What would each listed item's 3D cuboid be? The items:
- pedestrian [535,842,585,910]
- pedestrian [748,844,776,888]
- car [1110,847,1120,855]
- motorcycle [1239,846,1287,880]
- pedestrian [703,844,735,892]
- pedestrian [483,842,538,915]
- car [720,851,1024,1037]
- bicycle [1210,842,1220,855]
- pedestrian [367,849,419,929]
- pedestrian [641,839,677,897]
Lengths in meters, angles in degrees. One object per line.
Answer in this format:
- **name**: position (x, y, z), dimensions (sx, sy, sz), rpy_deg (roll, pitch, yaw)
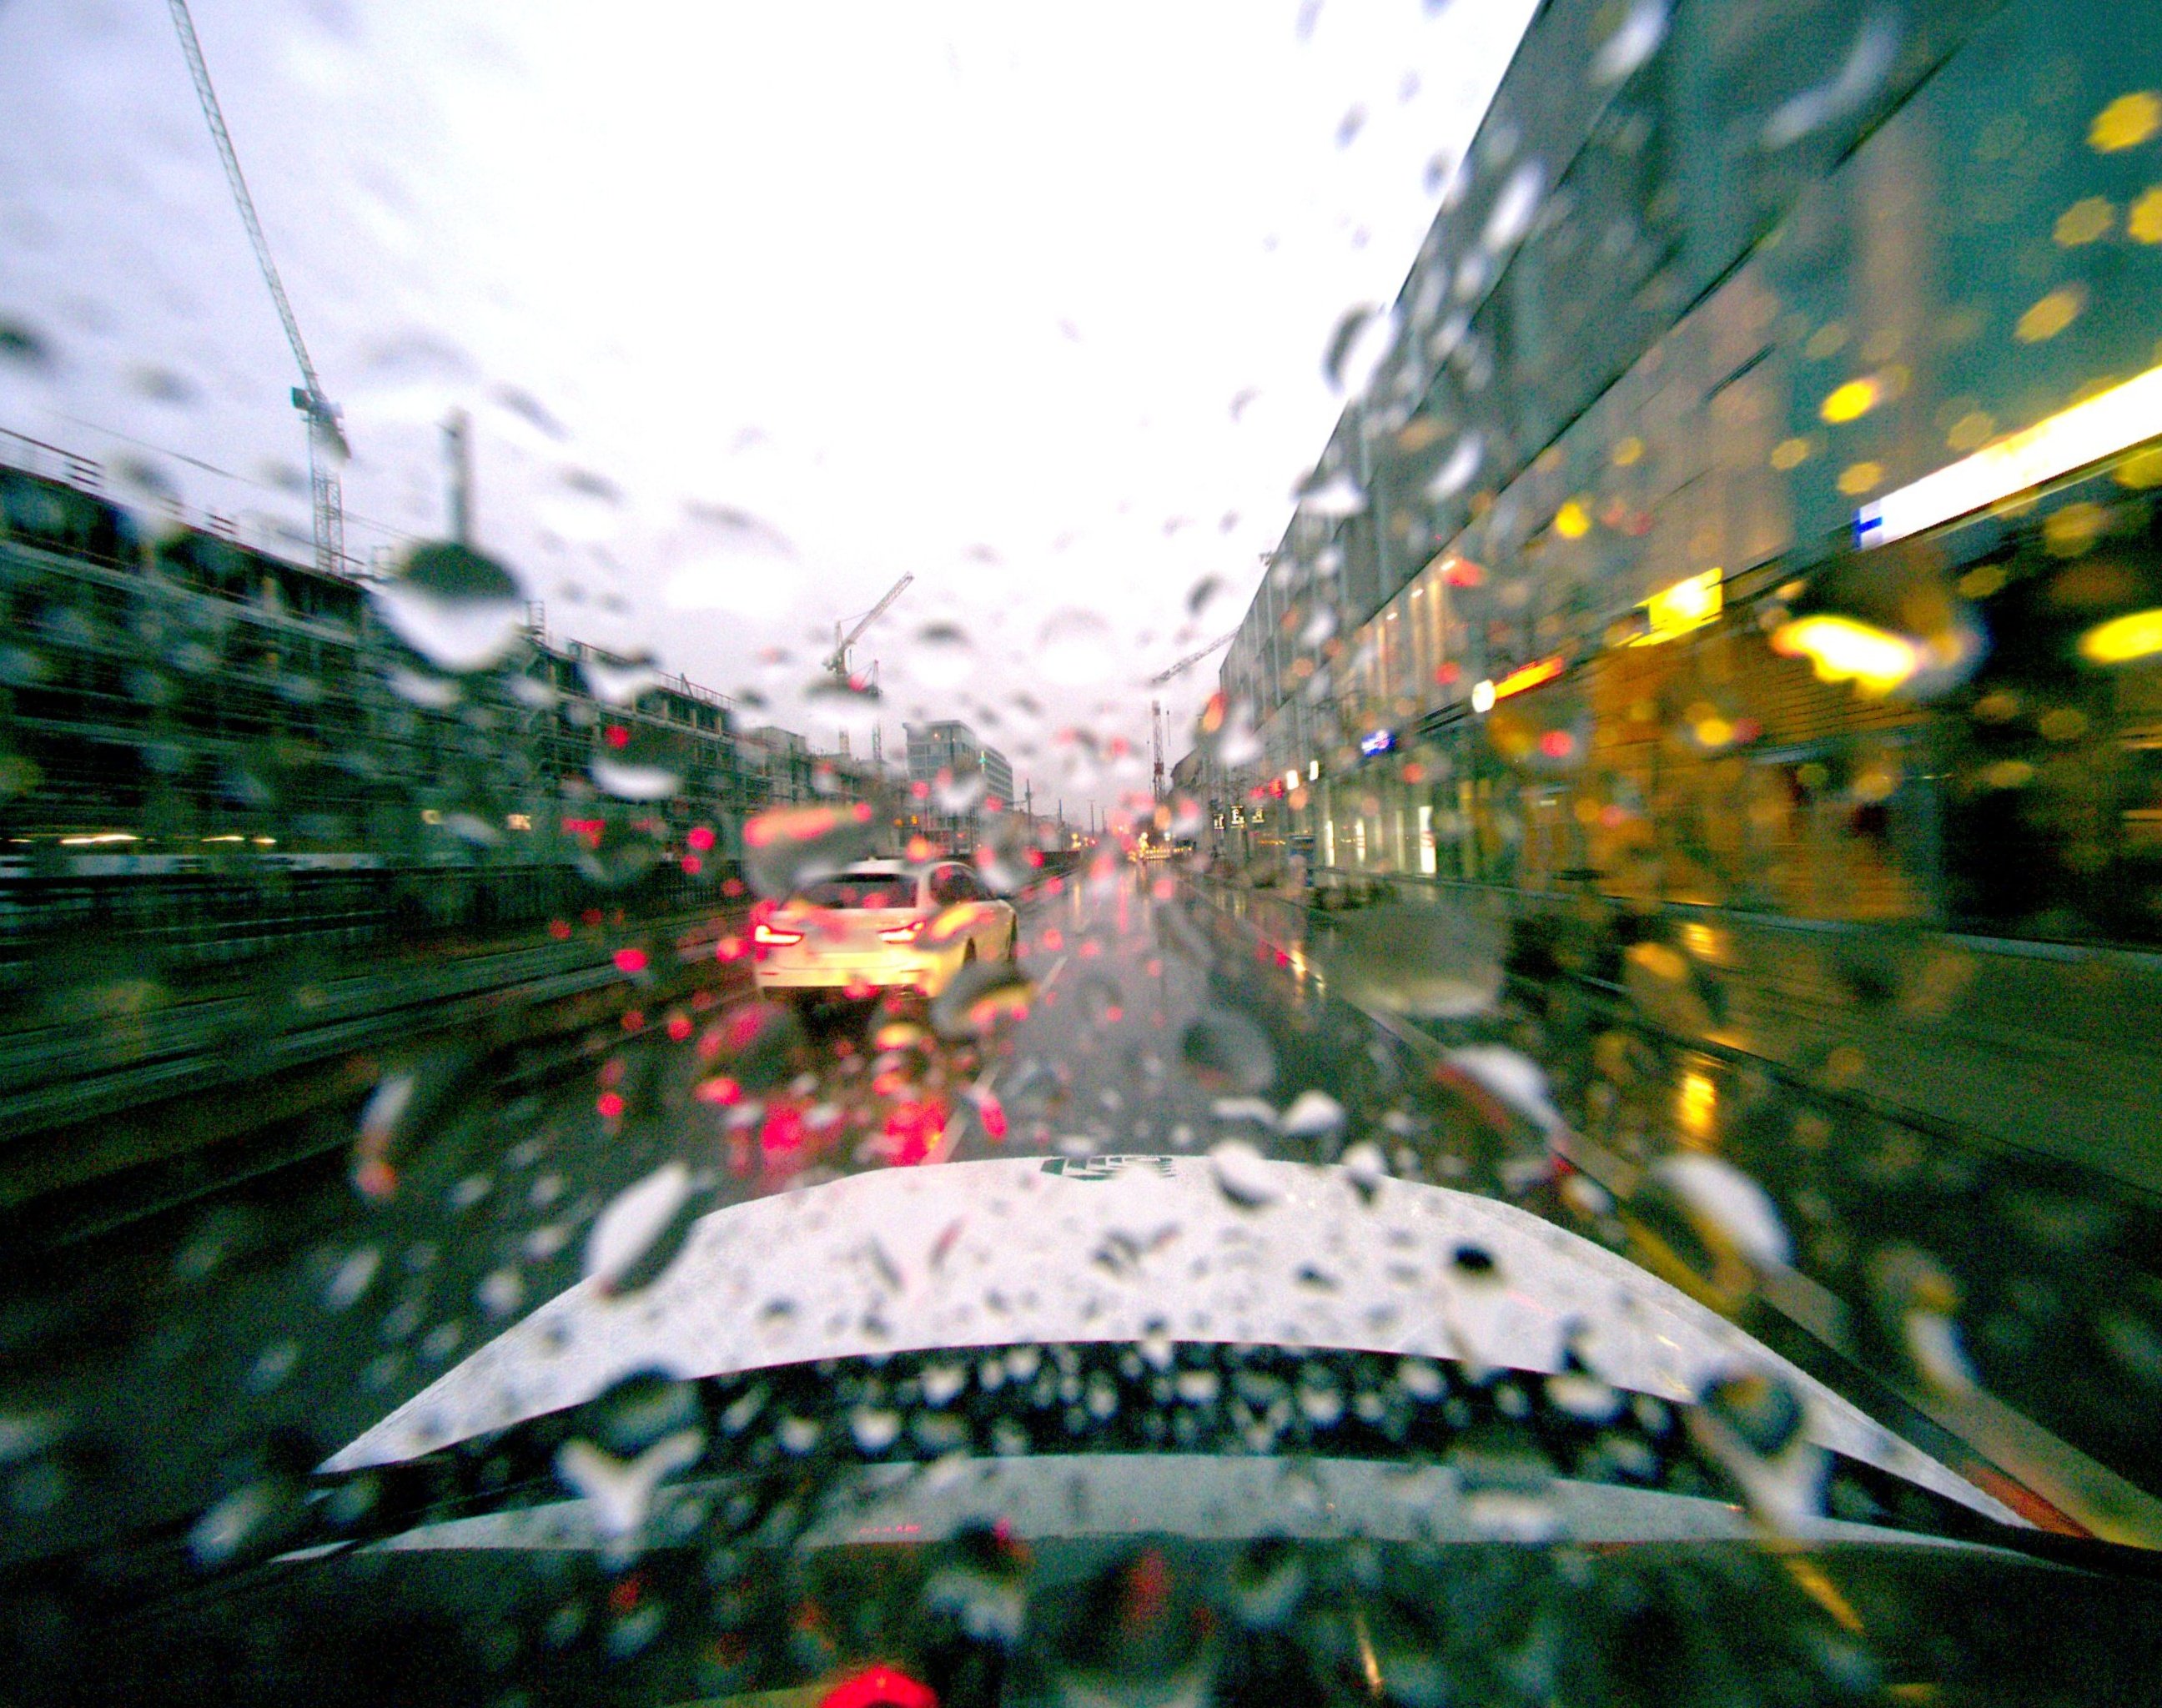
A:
- **pedestrian**: position (-12.065, 0.501, 18.883), dimensions (0.580, 1.550, 0.743), rpy_deg (-2, 0, 14)
- **pedestrian**: position (-11.510, 0.414, 29.423), dimensions (0.580, 1.550, 0.743), rpy_deg (-2, 0, 14)
- **car**: position (7.143, -0.715, 170.914), dimensions (1.893, 1.641, 4.004), rpy_deg (-2, 0, 4)
- **motorcycle**: position (7.669, 0.383, 34.420), dimensions (1.885, 1.333, 0.599), rpy_deg (-3, -1, 43)
- **pedestrian**: position (-11.876, 0.443, 26.718), dimensions (0.580, 1.550, 0.743), rpy_deg (-2, 0, 14)
- **pedestrian**: position (-12.341, 0.517, 17.627), dimensions (0.580, 1.550, 0.743), rpy_deg (-2, 0, 14)
- **car**: position (-1.888, 0.728, 9.124), dimensions (1.844, 1.465, 4.951), rpy_deg (-2, 0, 3)
- **bicycle**: position (13.377, -0.575, 81.389), dimensions (0.680, 1.222, 1.907), rpy_deg (-5, 0, 2)
- **pedestrian**: position (-13.867, 0.692, 16.430), dimensions (0.539, 1.567, 0.585), rpy_deg (-1, 0, 23)
- **pedestrian**: position (-12.575, 0.402, 24.287), dimensions (0.580, 1.701, 0.743), rpy_deg (-2, 0, 14)
